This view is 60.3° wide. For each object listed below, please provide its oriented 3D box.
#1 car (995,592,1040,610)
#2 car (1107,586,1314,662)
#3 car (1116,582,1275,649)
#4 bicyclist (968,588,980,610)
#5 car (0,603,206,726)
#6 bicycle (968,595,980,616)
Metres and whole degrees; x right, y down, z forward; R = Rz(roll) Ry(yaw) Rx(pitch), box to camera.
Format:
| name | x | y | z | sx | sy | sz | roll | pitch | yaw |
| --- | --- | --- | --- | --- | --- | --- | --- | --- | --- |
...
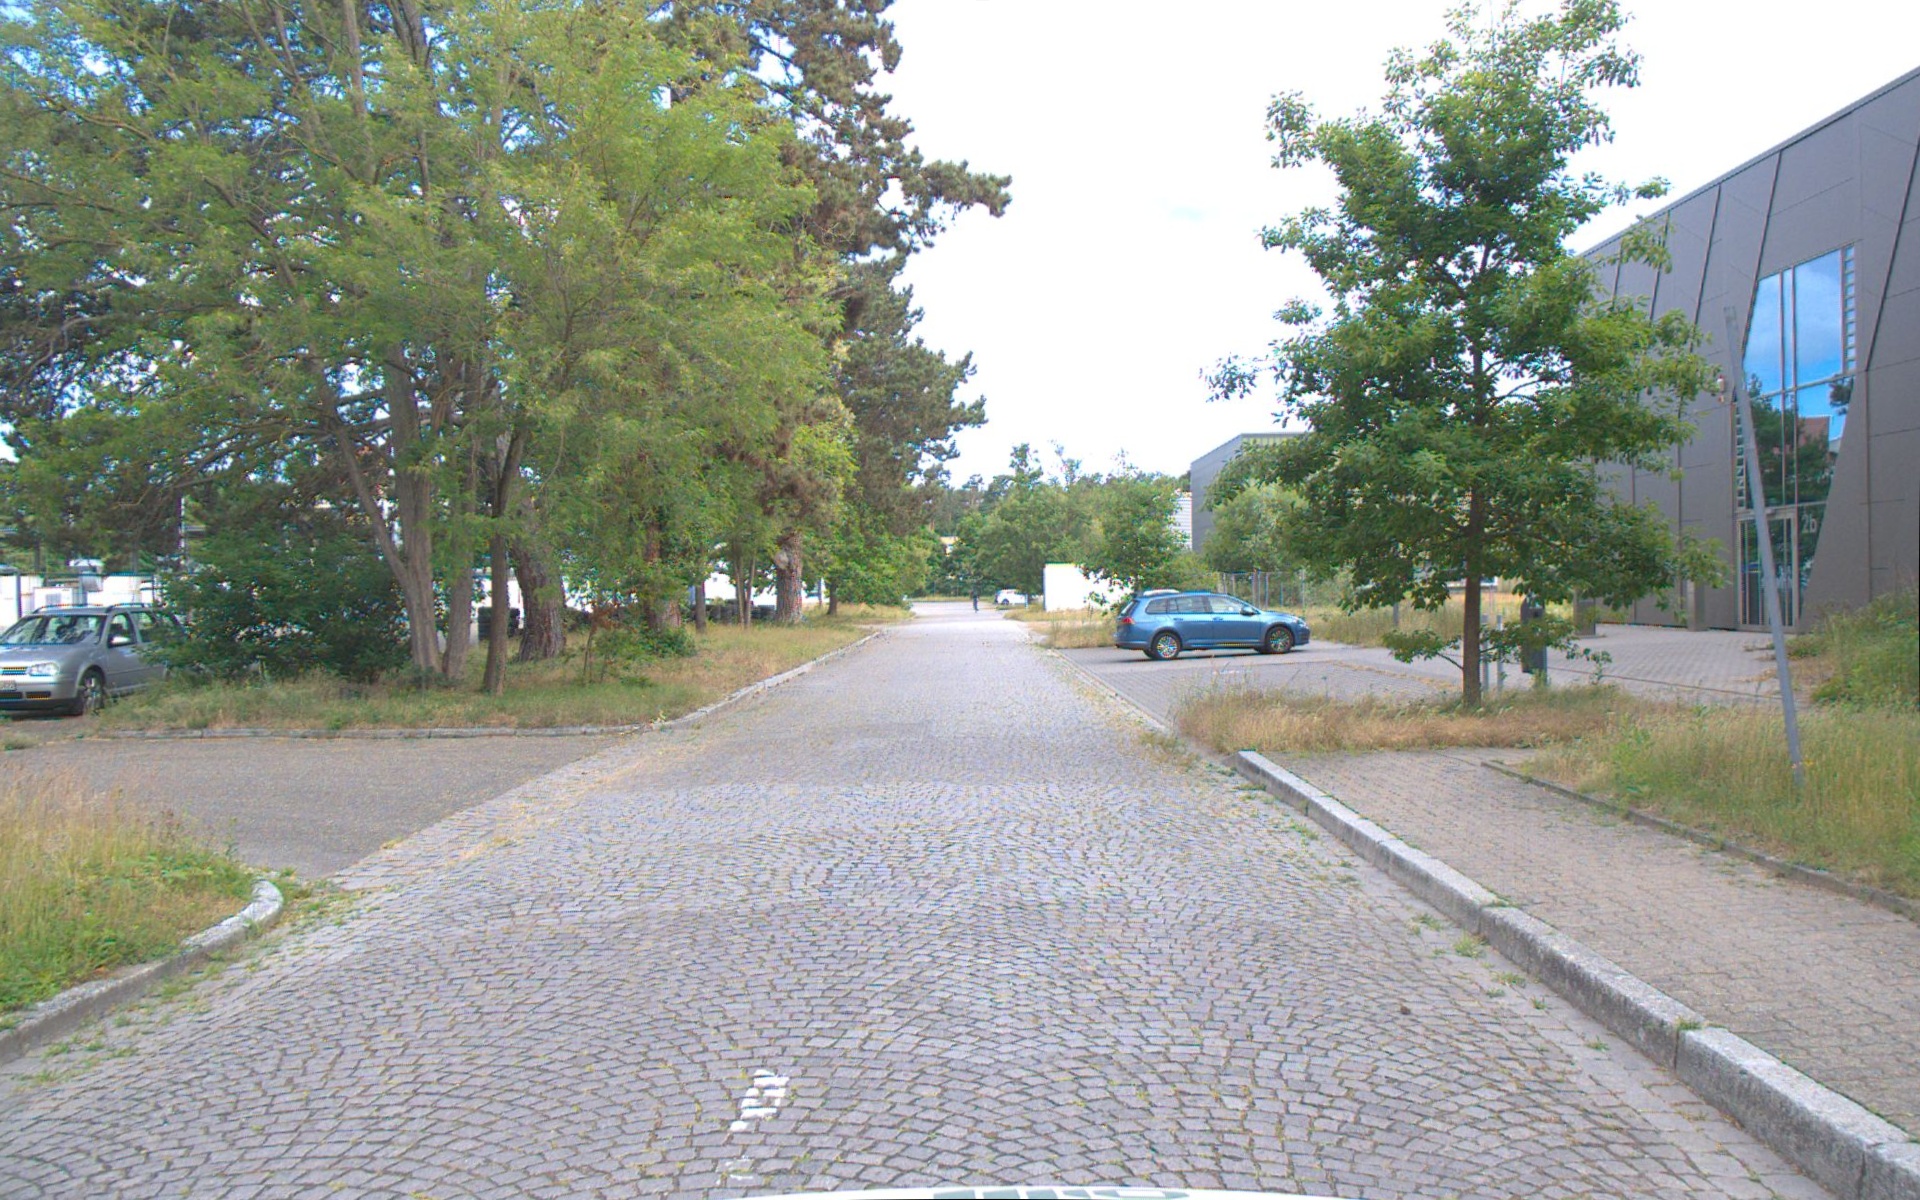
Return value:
| name | x | y | z | sx | sy | sz | roll | pitch | yaw |
| --- | --- | --- | --- | --- | --- | --- | --- | --- | --- |
| car | 5.498 | 0.071 | 157.975 | 4.232 | 1.576 | 2.000 | -1 | 0 | 1 |
| car | 5.718 | 0.544 | 38.157 | 4.391 | 1.488 | 1.934 | -3 | 0 | -3 |
| car | 6.457 | 0.422 | 45.612 | 4.025 | 1.600 | 1.764 | -3 | 0 | -3 |
| bicyclist | 1.006 | -0.048 | 119.928 | 0.879 | 1.569 | 0.868 | -1 | 1 | -1 |
| car | -12.429 | 0.840 | 23.337 | 1.695 | 1.457 | 4.161 | -1 | 1 | -1 |
| bicycle | 1.010 | 0.396 | 119.946 | 0.807 | 1.400 | 2.042 | -1 | 1 | -1 |
